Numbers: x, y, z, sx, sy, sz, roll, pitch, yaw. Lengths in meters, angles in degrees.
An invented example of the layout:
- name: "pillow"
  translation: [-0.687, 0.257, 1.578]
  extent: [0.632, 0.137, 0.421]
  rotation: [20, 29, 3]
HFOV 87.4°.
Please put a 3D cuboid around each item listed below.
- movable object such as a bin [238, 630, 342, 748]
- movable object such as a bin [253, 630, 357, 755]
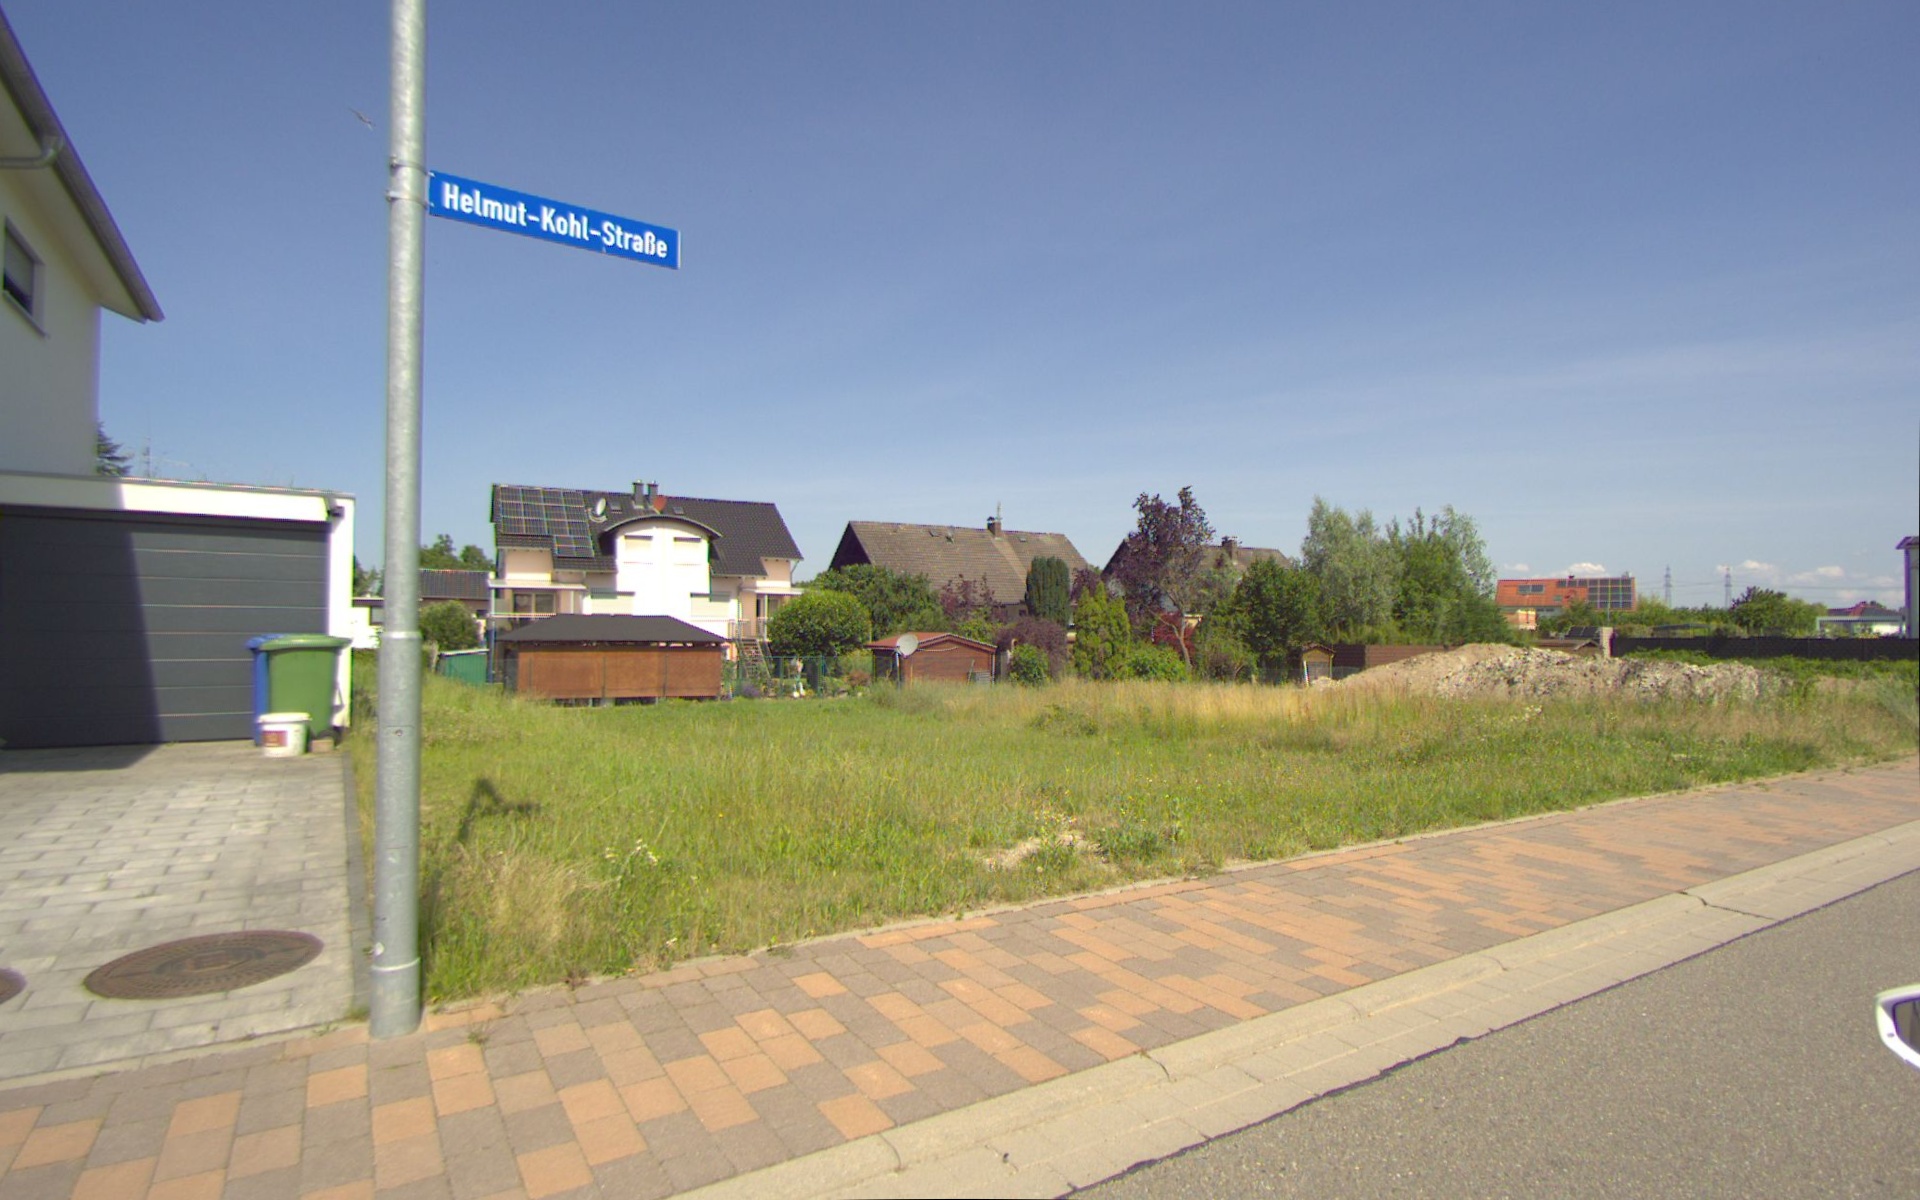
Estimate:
- name: "movable object such as a bin"
  translation: [-6.631, 0.866, 9.986]
  extent: [0.799, 1.113, 0.666]
  rotation: [2, -3, -32]
- name: "movable object such as a bin"
  translation: [-6.199, 0.856, 9.526]
  extent: [0.776, 1.113, 0.656]
  rotation: [2, -3, -33]
